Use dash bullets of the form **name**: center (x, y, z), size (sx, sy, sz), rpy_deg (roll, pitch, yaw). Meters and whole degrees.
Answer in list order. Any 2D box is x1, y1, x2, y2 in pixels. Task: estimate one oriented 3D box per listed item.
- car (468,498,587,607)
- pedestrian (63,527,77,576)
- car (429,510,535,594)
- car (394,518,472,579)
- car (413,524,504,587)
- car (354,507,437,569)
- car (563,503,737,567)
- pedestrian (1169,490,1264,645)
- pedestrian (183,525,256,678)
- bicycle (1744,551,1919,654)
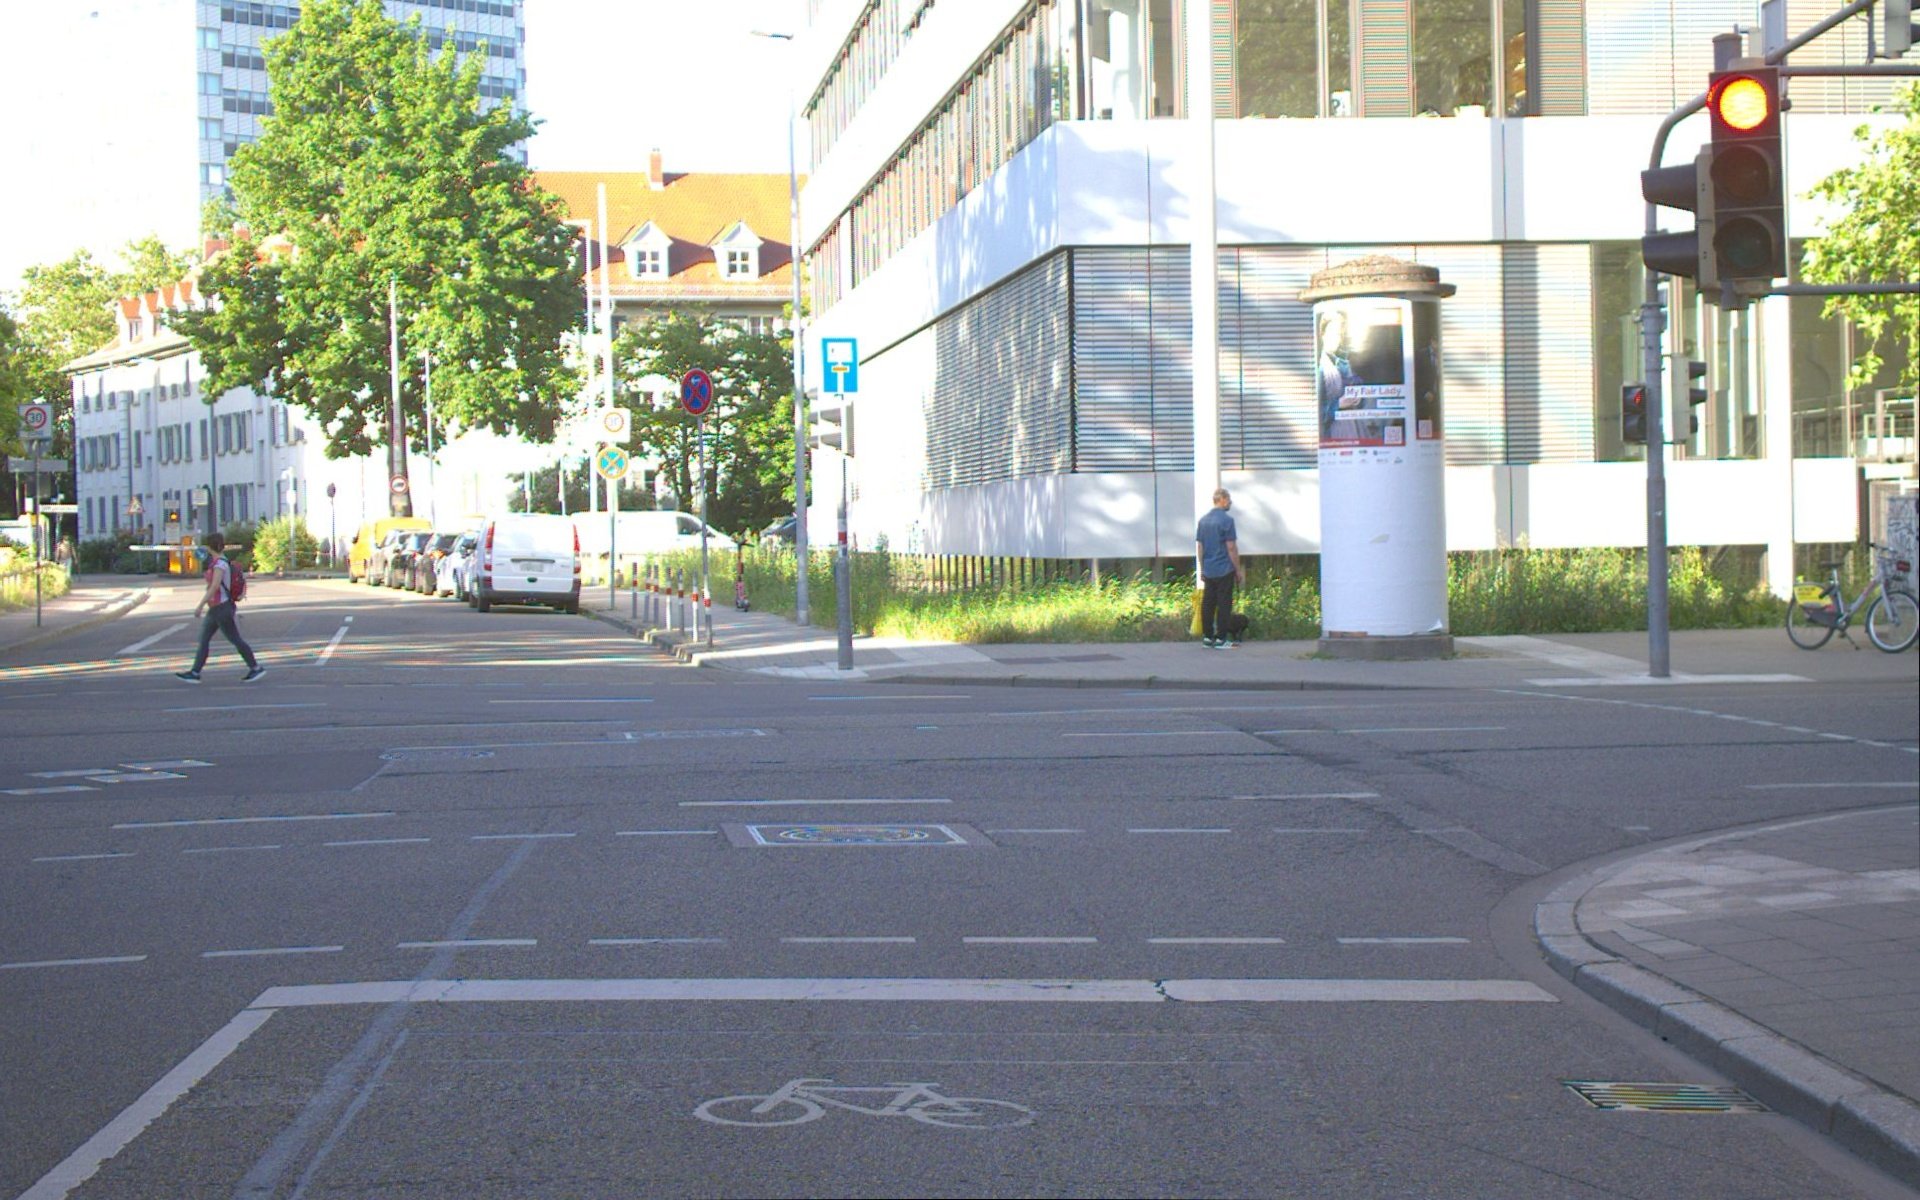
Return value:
- **car**: center (-8.165, -0.912, 64.653), size (2.066, 1.956, 4.239), rpy_deg (-1, 1, -9)
- **pedestrian**: center (-27.731, -1.521, 107.101), size (0.380, 1.529, 0.446), rpy_deg (-1, 1, -12)
- **car**: center (-10.666, -1.092, 76.568), size (1.946, 1.789, 4.239), rpy_deg (-1, 1, -13)
- **car**: center (-13.186, -1.301, 85.847), size (1.703, 1.459, 4.239), rpy_deg (-1, 1, -11)
- **car**: center (-11.883, -1.069, 81.330), size (1.703, 1.419, 4.239), rpy_deg (-1, 1, -14)
- **car**: center (-15.737, -1.743, 95.664), size (2.100, 1.652, 4.477), rpy_deg (-1, 1, -11)
- **car**: center (-9.290, -1.935, 102.844), size (4.880, 1.865, 2.001), rpy_deg (0, 0, -17)
- **pedestrian**: center (2.897, -0.372, 38.830), size (0.811, 1.730, 0.653), rpy_deg (0, 2, 45)
- **pedestrian**: center (-7.848, 0.008, 36.438), size (0.711, 1.594, 0.617), rpy_deg (-1, 1, -11)
- **bicycle**: center (9.183, 0.017, 36.128), size (0.463, 1.045, 1.914), rpy_deg (-2, 2, -42)
